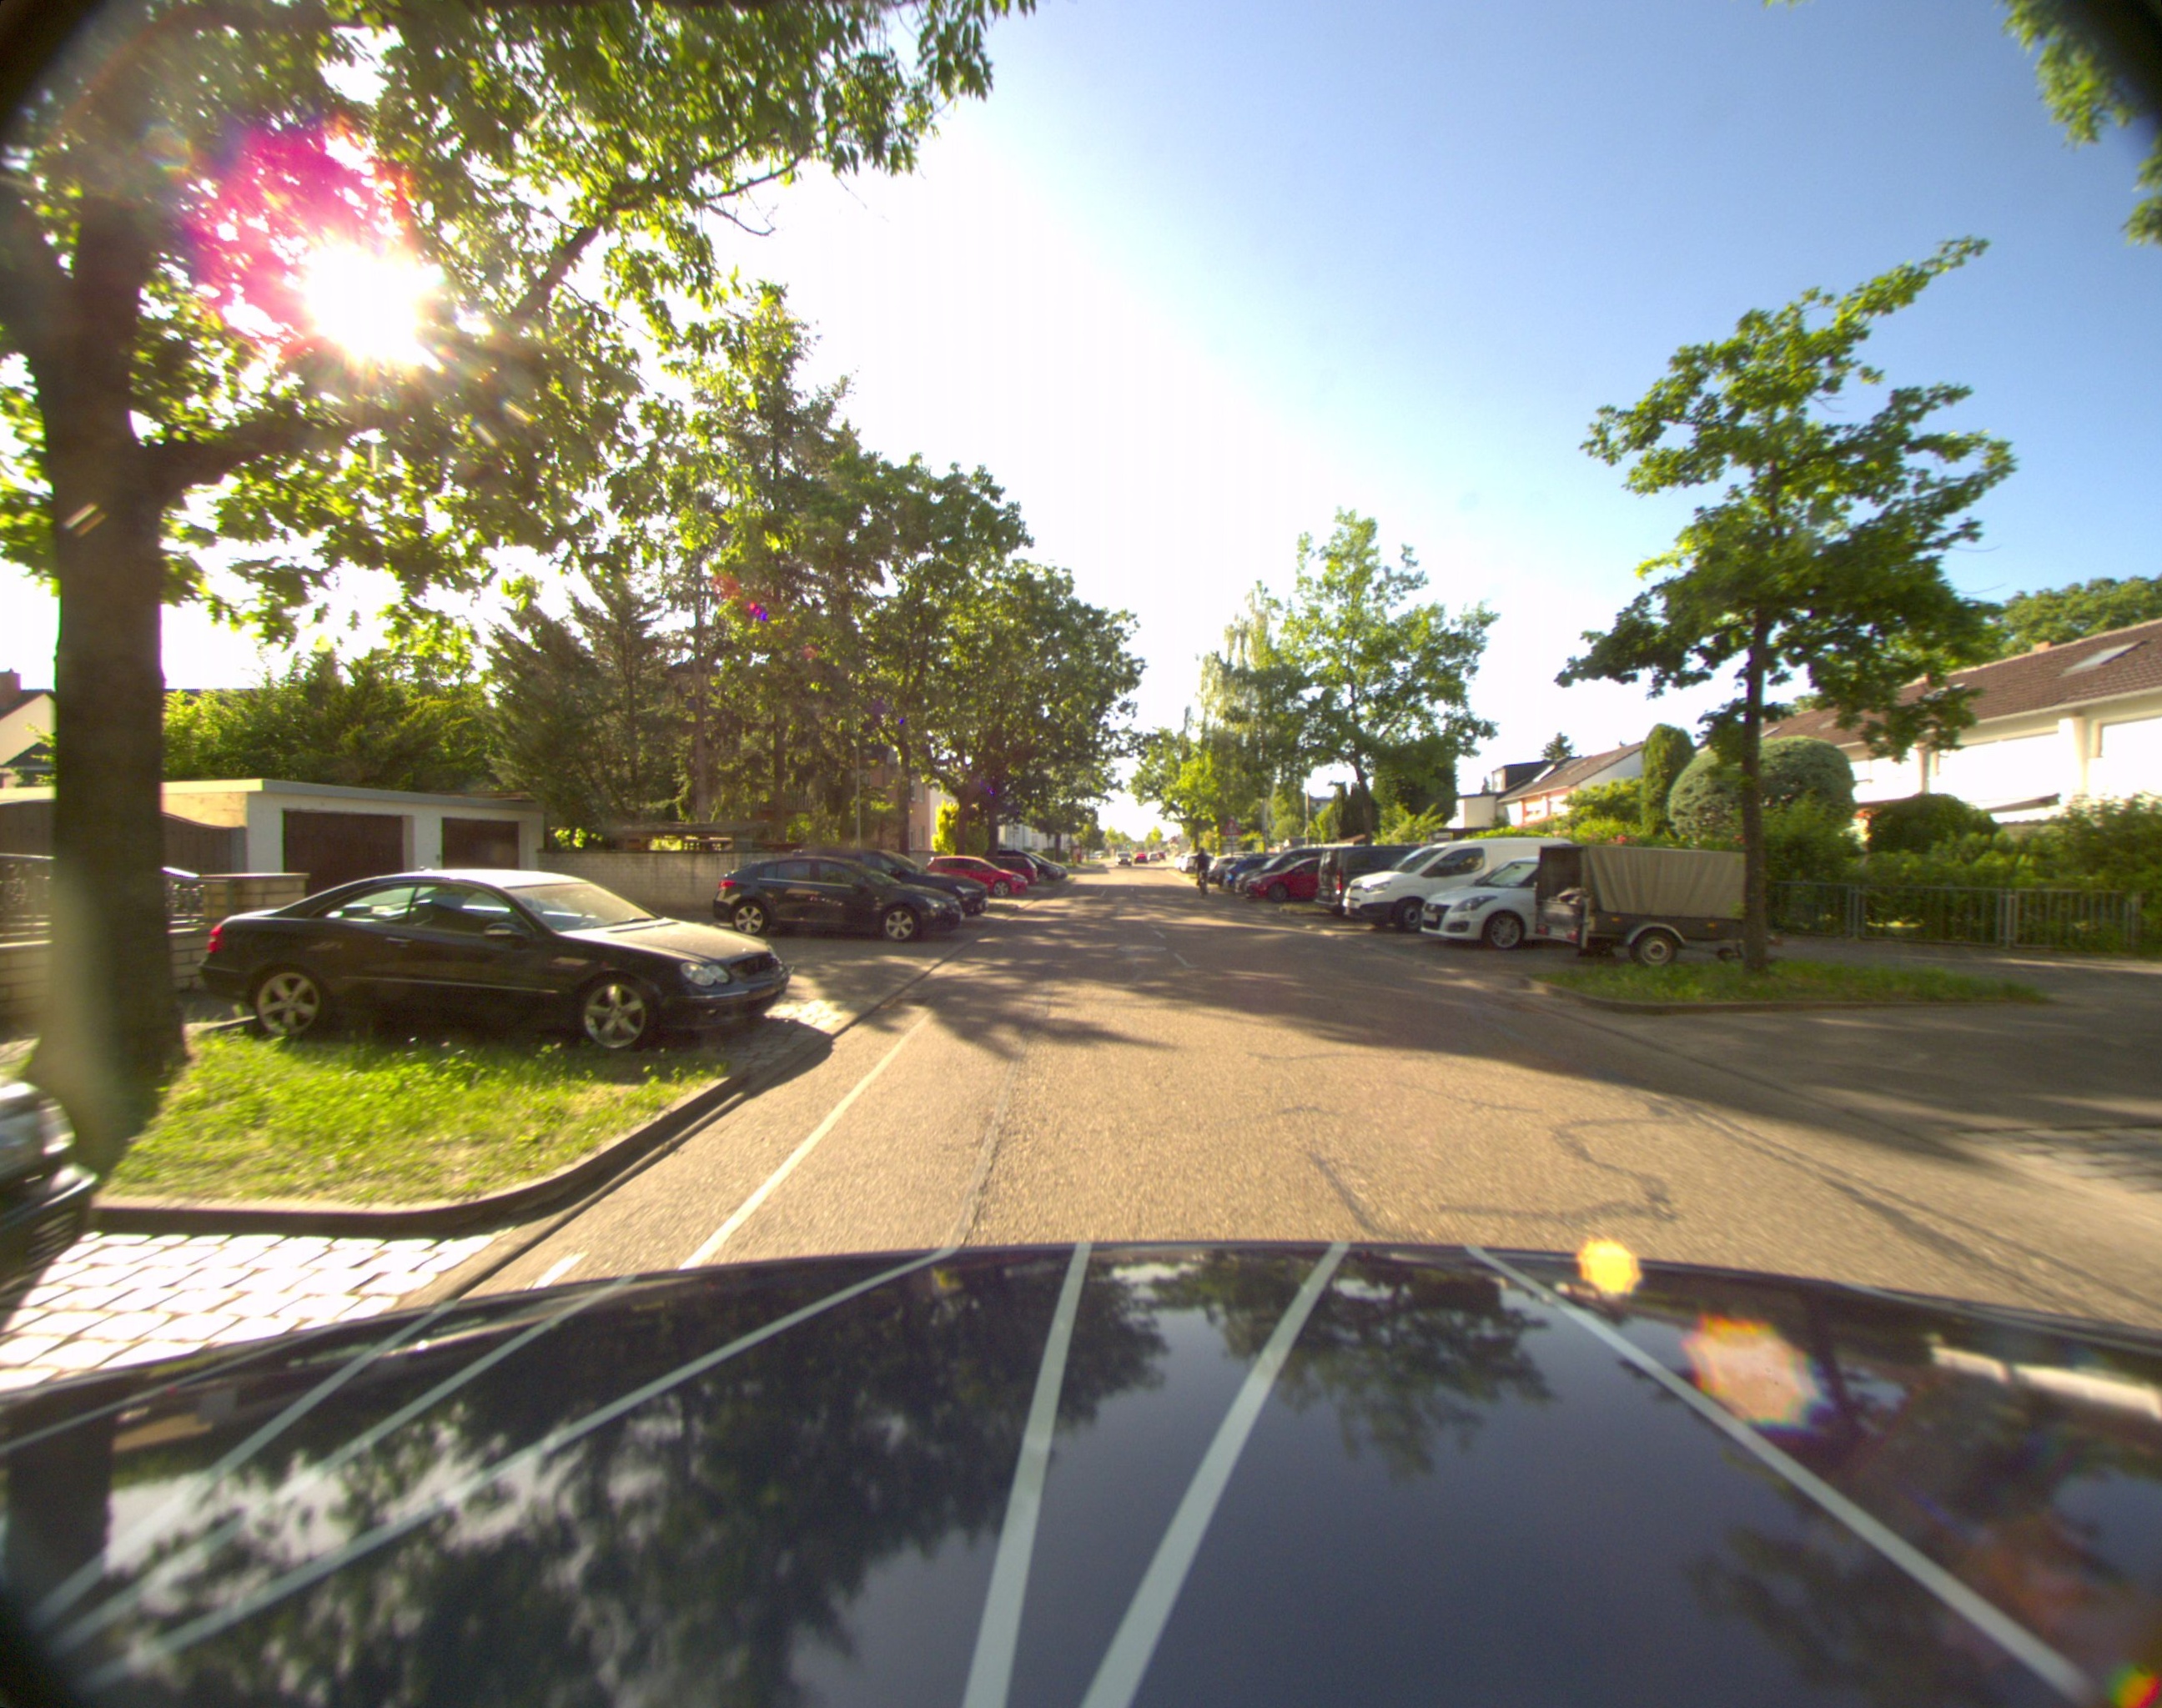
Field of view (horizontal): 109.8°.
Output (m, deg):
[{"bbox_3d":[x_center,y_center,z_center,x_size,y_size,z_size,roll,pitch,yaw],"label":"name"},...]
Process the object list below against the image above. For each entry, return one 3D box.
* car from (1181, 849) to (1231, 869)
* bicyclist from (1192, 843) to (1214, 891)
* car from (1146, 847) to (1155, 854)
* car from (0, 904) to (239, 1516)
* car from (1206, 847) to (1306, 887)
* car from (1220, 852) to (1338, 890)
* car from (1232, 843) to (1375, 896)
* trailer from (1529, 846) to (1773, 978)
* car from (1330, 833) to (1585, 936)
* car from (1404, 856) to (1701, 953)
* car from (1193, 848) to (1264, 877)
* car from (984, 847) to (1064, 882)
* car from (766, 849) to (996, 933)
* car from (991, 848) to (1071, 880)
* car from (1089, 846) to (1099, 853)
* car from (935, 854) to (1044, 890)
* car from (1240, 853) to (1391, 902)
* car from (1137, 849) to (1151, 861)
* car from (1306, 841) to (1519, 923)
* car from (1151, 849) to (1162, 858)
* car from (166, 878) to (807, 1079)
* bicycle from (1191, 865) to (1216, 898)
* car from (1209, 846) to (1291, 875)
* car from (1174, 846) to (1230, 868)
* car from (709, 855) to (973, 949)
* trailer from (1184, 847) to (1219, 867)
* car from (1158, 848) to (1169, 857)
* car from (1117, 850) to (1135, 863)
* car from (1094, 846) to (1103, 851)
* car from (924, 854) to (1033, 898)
[{"bbox_3d":[9.417,0.377,57.612,3.523,1.487,1.708,0,0,1],"label":"car"},{"bbox_3d":[4.370,0.457,27.171,0.597,1.664,0.975,2,1,2],"label":"bicyclist"},{"bbox_3d":[14.784,-0.796,161.506,1.877,1.470,3.851,0,1,5],"label":"car"},{"bbox_3d":[-4.993,0.918,1.605,4.349,1.551,1.867,1,1,0],"label":"car"},{"bbox_3d":[8.042,0.599,35.156,4.220,1.714,1.761,-1,1,2],"label":"car"},{"bbox_3d":[7.909,0.663,30.616,4.281,1.416,1.724,-1,0,2],"label":"car"},{"bbox_3d":[8.081,0.552,27.858,4.685,1.758,1.795,-2,0,1],"label":"car"},{"bbox_3d":[7.685,0.742,10.424,2.240,1.664,1.475,0,0,5],"label":"trailer"},{"bbox_3d":[7.551,0.568,15.573,4.247,1.933,1.999,-1,1,-1],"label":"car"},{"bbox_3d":[7.820,0.801,12.858,3.998,1.507,1.690,0,1,-2],"label":"car"},{"bbox_3d":[8.789,0.491,45.438,3.947,1.604,1.706,-2,0,4],"label":"car"},{"bbox_3d":[-3.127,0.569,42.406,4.221,1.771,1.789,2,1,2],"label":"car"},{"bbox_3d":[-4.319,0.775,16.910,4.585,1.637,1.838,2,1,1],"label":"car"},{"bbox_3d":[-2.958,0.558,45.480,4.513,1.670,1.879,2,1,2],"label":"car"},{"bbox_3d":[3.035,-1.072,178.266,1.944,1.412,4.000,0,1,5],"label":"car"},{"bbox_3d":[-3.996,0.788,33.552,4.513,1.437,1.838,1,1,3],"label":"car"},{"bbox_3d":[7.721,0.766,25.343,4.486,1.491,1.837,-1,1,4],"label":"car"},{"bbox_3d":[8.660,0.096,104.409,1.741,1.532,3.948,0,0,7],"label":"car"},{"bbox_3d":[7.853,0.628,18.304,4.249,1.760,1.967,-1,1,-1],"label":"car"},{"bbox_3d":[11.804,-0.115,118.858,1.764,1.390,3.852,0,0,6],"label":"car"},{"bbox_3d":[-4.971,0.980,6.735,4.437,1.323,1.691,2,1,3],"label":"car"},{"bbox_3d":[4.344,0.950,27.069,0.598,1.052,1.986,3,1,2],"label":"bicycle"},{"bbox_3d":[8.925,0.327,40.308,4.010,1.506,1.795,0,1,4],"label":"car"},{"bbox_3d":[9.543,0.240,60.122,3.964,1.565,1.921,-1,2,-4],"label":"car"},{"bbox_3d":[-4.340,0.844,14.245,4.330,1.521,1.840,1,0,1],"label":"car"},{"bbox_3d":[10.307,0.263,64.937,2.766,1.638,1.299,-1,3,-1],"label":"trailer"},{"bbox_3d":[13.921,-0.172,128.137,1.764,1.469,3.852,0,0,5],"label":"car"},{"bbox_3d":[5.179,0.301,86.955,1.877,1.469,3.852,0,0,5],"label":"car"},{"bbox_3d":[4.337,-1.329,188.842,1.830,1.324,3.679,0,0,6],"label":"car"},{"bbox_3d":[-3.820,0.815,28.704,3.786,1.476,1.755,1,2,3],"label":"car"}]
